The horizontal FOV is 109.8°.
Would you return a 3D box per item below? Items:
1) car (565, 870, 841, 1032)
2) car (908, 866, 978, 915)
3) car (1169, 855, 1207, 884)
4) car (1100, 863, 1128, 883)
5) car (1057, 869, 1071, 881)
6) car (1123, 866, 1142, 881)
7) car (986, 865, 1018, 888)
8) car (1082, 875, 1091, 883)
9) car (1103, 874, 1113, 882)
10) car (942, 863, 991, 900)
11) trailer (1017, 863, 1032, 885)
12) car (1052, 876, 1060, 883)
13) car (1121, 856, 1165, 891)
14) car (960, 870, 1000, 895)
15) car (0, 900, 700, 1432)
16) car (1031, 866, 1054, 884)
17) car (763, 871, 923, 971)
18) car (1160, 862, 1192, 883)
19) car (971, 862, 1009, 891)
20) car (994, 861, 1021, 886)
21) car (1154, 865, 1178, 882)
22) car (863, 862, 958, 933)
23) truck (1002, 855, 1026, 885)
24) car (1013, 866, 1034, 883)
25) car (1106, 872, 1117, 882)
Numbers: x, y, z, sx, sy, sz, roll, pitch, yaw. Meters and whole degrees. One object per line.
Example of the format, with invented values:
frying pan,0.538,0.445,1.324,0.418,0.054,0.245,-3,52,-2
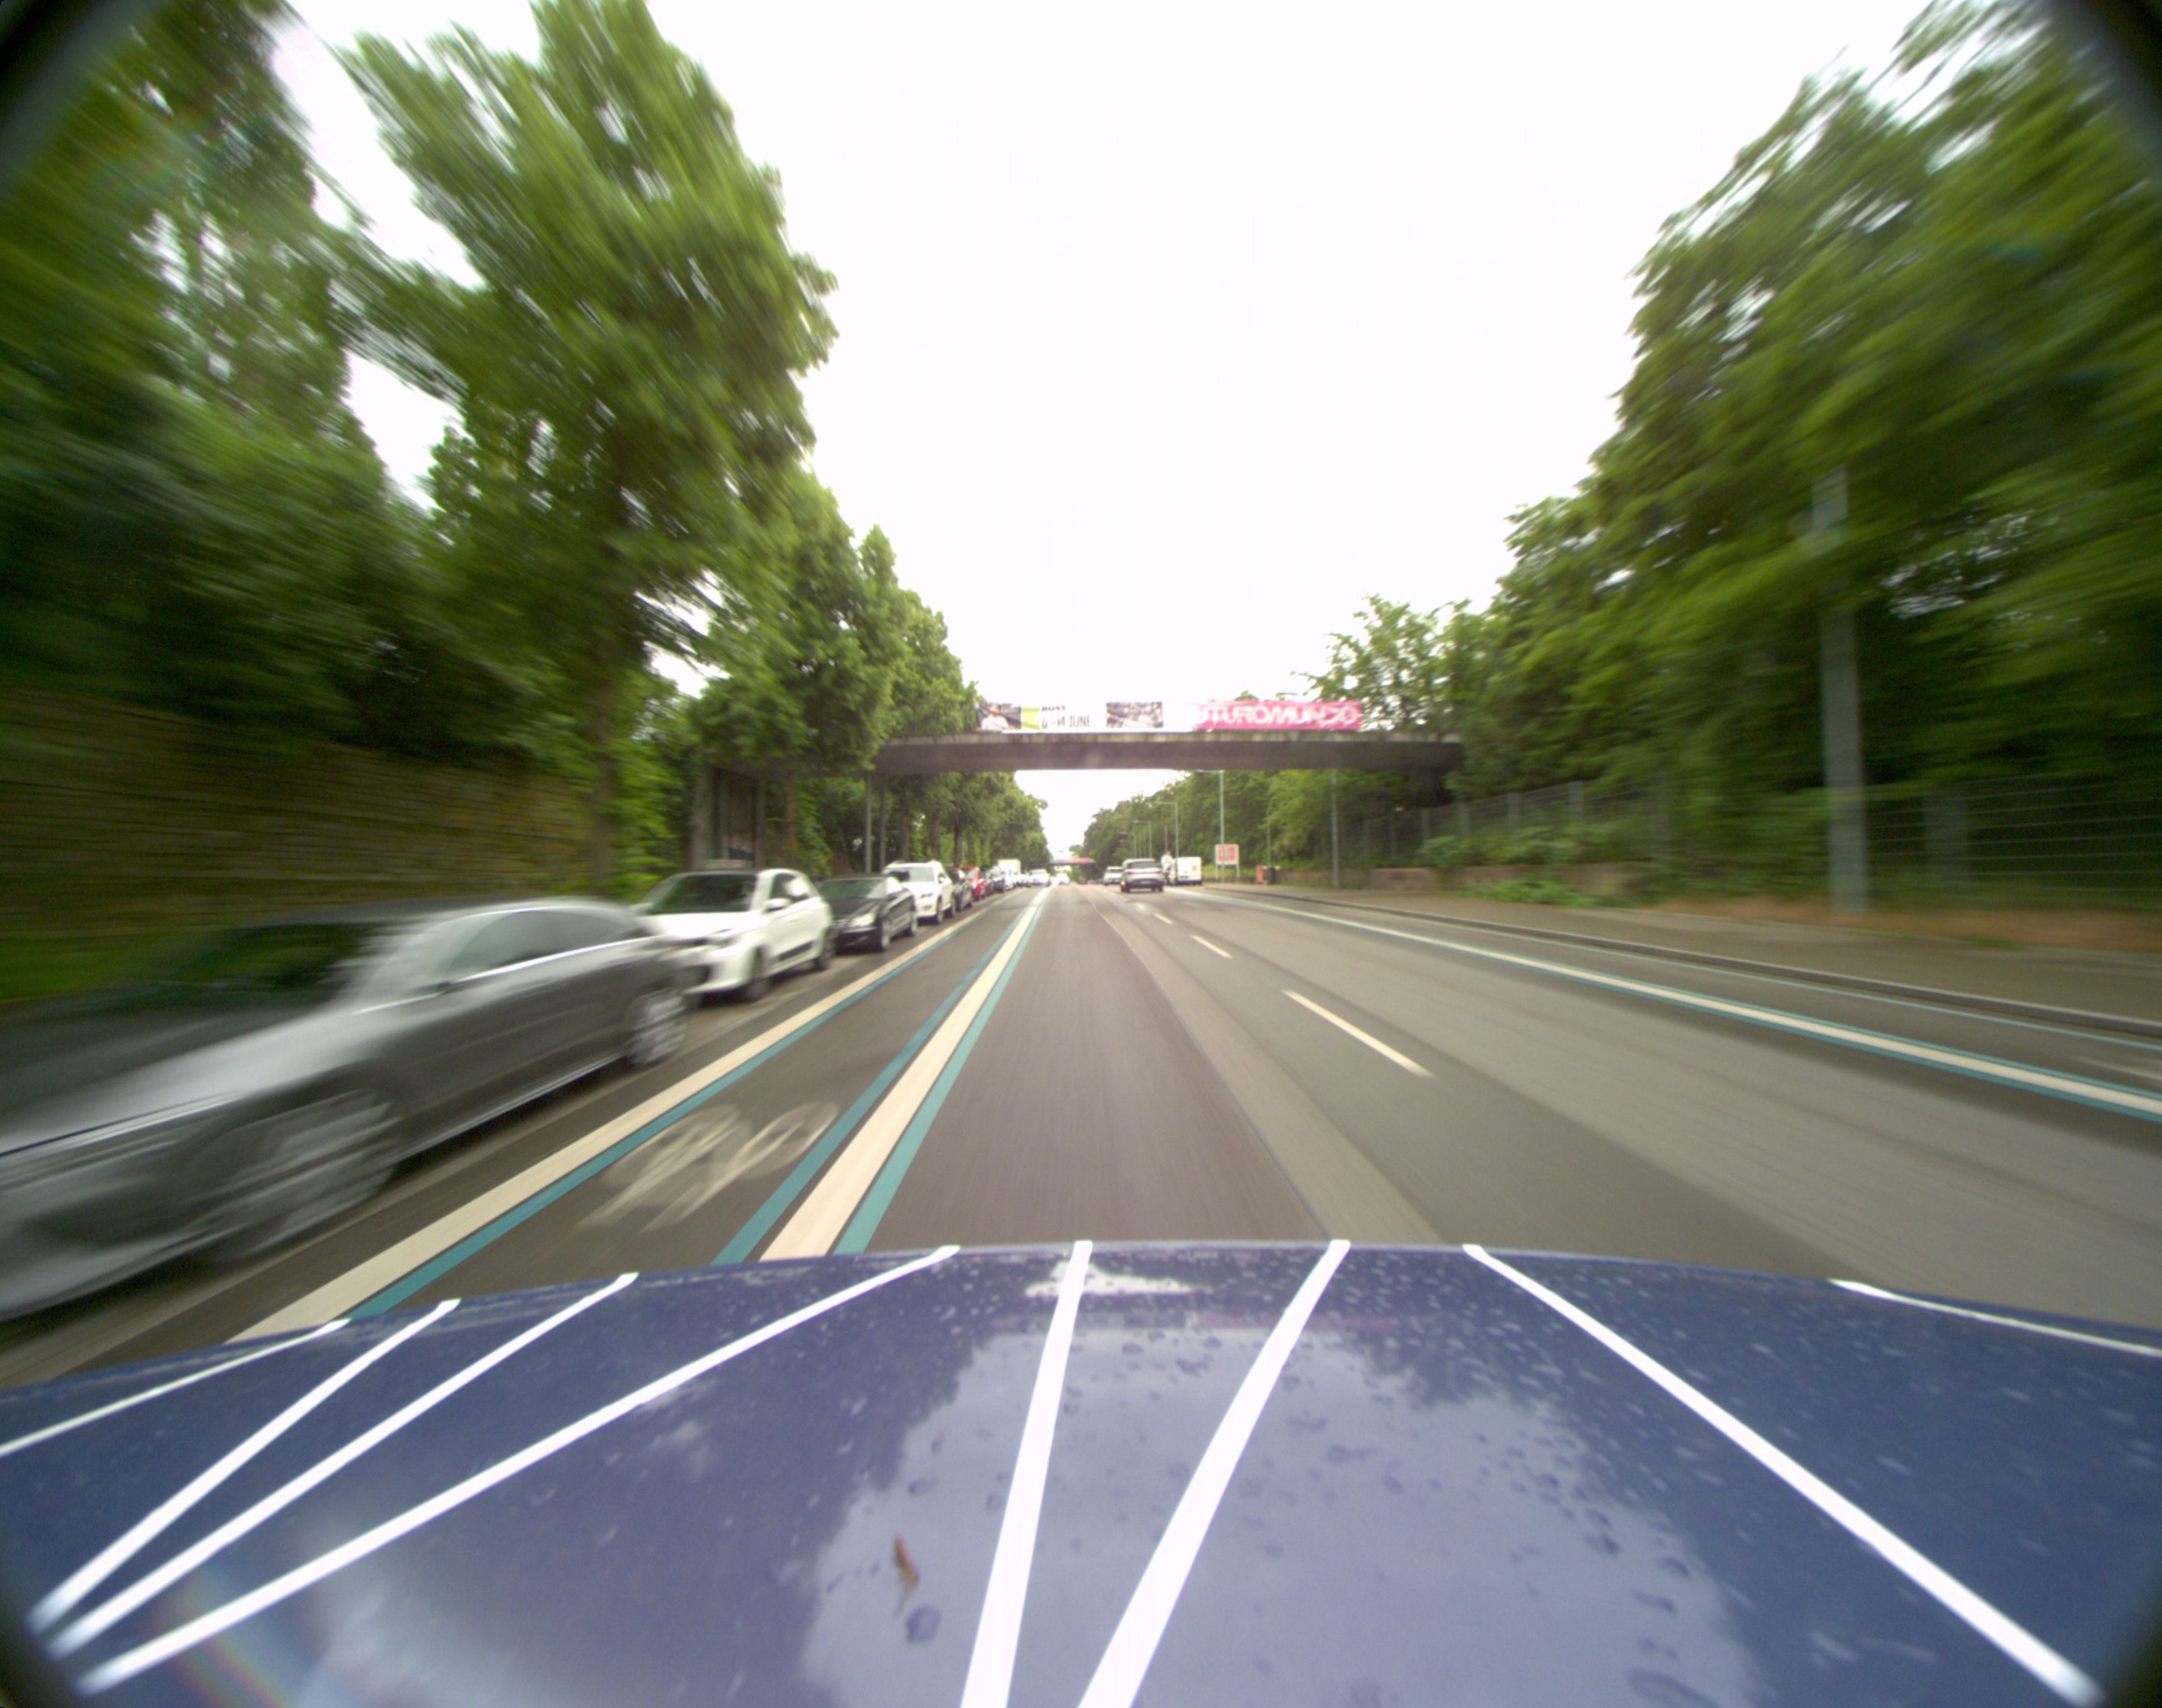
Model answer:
car,-4.533,1.055,9.807,1.665,1.526,3.741,-2,0,-1
car,-4.666,1.192,26.254,1.677,1.385,4.449,-2,1,-2
car,7.429,1.103,53.305,1.983,1.902,5.229,-1,-2,1
car,2.688,1.565,62.595,1.977,1.542,3.870,-1,-1,-2
car,-2.217,2.804,99.613,1.828,1.453,3.882,-2,-2,-2
car,6.720,2.563,99.813,1.877,1.965,4.735,0,-2,-3
car,-5.198,1.515,50.422,1.664,1.417,4.619,-2,-2,-1
car,1.071,4.935,149.382,1.715,1.608,4.151,1,-2,-2
car,5.345,4.850,151.926,1.823,1.533,4.544,0,-3,-1
car,-4.939,1.245,33.106,1.563,1.457,3.627,-2,-3,0
trailer,-5.963,2.085,80.483,1.350,2.255,3.564,-2,-1,-1
car,-5.861,5.893,178.568,1.734,1.578,3.672,-2,-1,-2
car,3.052,0.942,37.881,1.801,1.567,4.102,-1,0,0
car,-5.152,1.452,39.042,1.630,1.182,4.183,-2,-2,-2
car,-4.206,1.117,4.278,1.779,1.340,4.466,-2,1,1
car,-3.056,1.691,61.484,1.726,1.389,4.591,-1,-2,-2
car,-4.330,1.142,14.619,1.723,1.368,4.557,-2,1,-2
car,7.544,1.473,60.803,1.829,1.606,4.663,0,-2,-2
car,-5.301,1.316,44.661,1.999,1.550,4.642,-1,-2,-4
car,-5.505,1.483,57.246,1.726,1.779,4.346,-2,-2,-1
car,7.483,1.714,67.127,1.612,1.437,4.039,0,-2,-1
car,-4.410,1.068,20.286,1.718,1.609,4.260,-2,0,-3
truck,-5.505,1.335,62.915,1.723,2.319,4.000,-2,-1,-1
car,-5.702,2.016,75.075,1.761,1.575,4.412,-1,-2,-7
car,5.795,4.378,142.830,1.823,1.754,4.002,0,-3,-1
